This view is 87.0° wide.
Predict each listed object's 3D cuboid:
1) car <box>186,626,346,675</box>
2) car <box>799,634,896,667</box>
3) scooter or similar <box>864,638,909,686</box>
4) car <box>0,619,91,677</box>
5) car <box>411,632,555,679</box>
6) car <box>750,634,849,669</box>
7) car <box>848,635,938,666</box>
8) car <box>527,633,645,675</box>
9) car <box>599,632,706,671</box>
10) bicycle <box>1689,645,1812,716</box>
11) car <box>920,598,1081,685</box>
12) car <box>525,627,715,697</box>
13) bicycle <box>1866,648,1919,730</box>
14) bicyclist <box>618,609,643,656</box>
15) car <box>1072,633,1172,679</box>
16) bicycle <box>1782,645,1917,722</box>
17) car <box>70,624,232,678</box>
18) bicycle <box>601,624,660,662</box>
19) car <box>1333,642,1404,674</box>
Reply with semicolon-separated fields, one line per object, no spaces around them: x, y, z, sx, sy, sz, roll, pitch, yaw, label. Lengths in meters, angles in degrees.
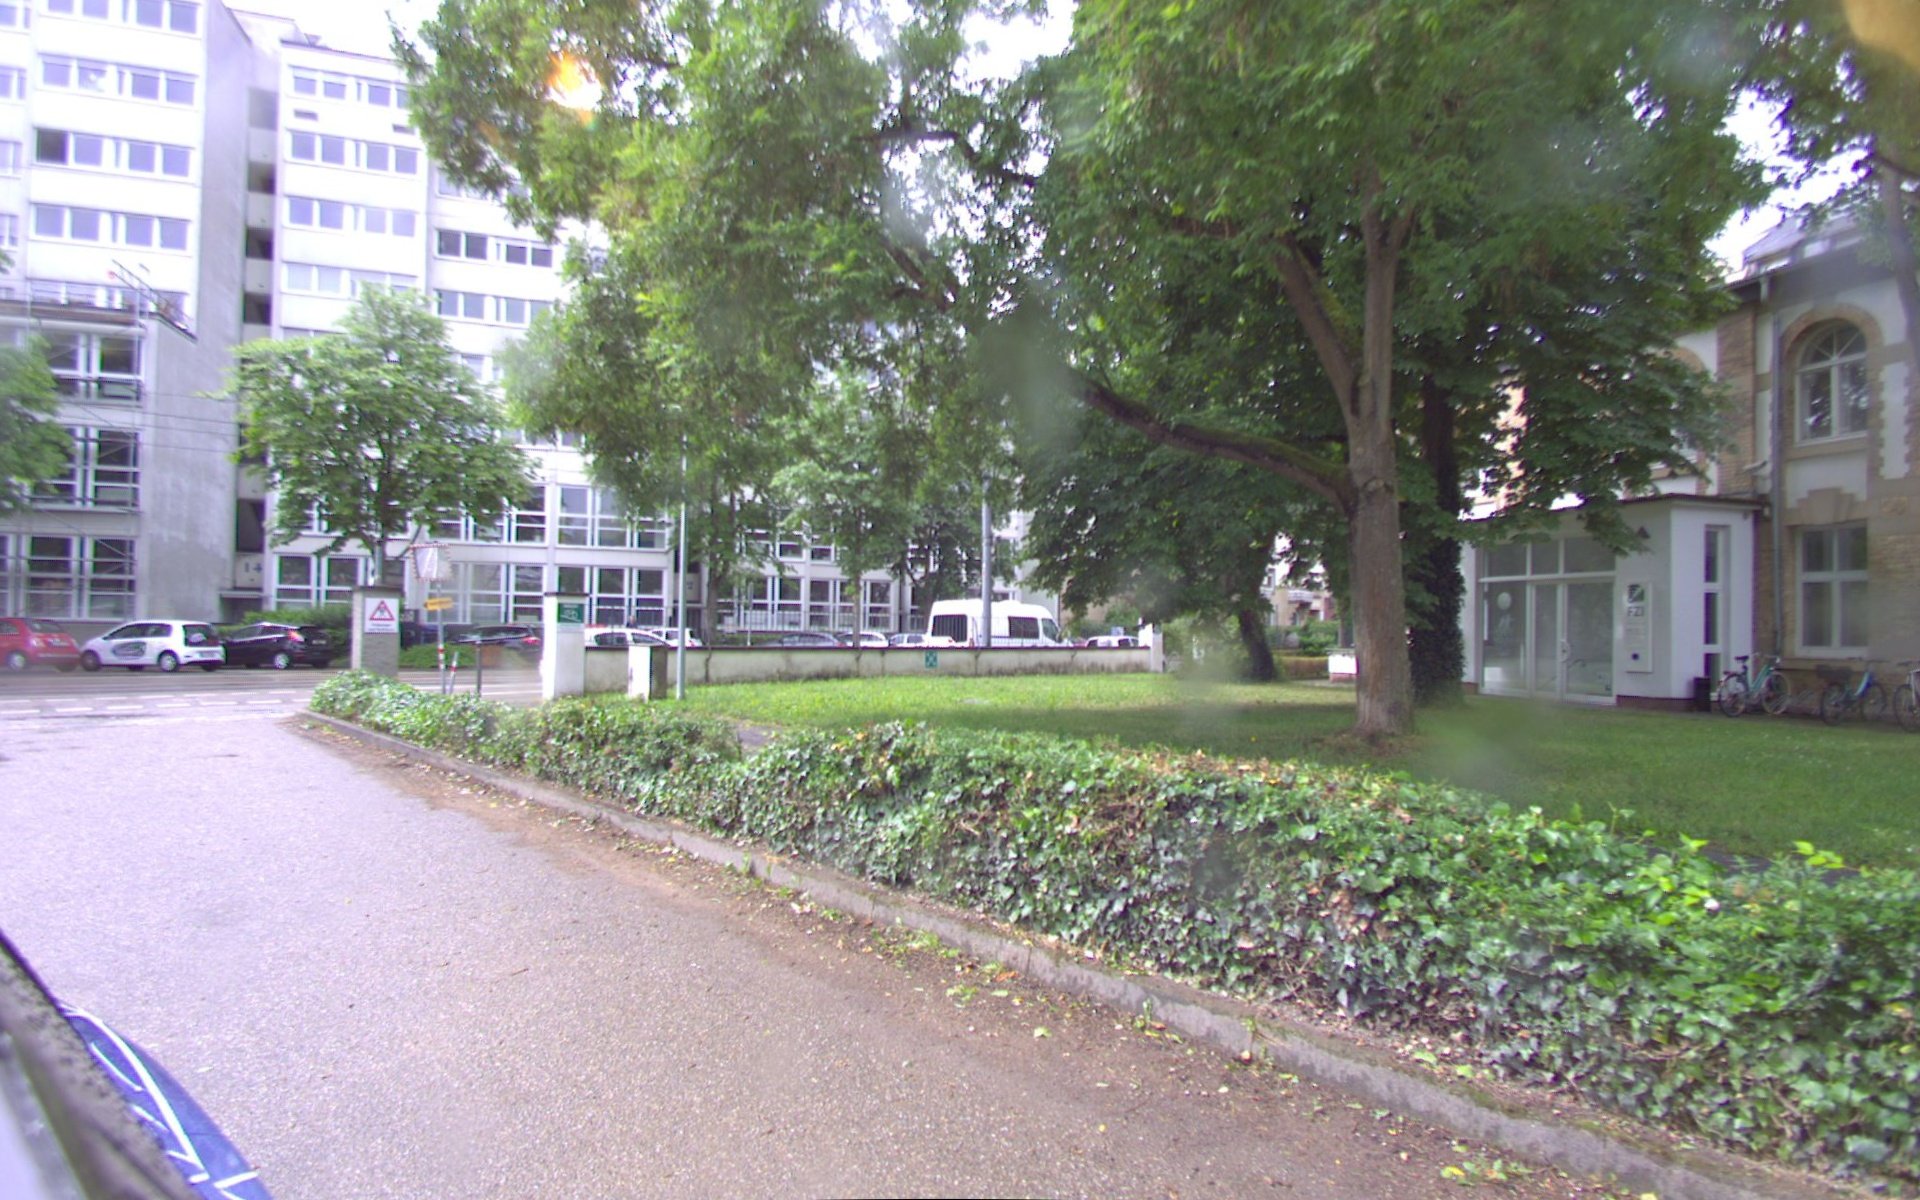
-21.634;1.577;31.624;3.931;1.492;1.812;-1;-2;8;car
-5.283;2.375;47.896;4.335;1.464;1.884;-1;-2;2;car
-2.070;1.738;28.391;1.140;1.287;0.423;0;-4;21;scooter or similar
-25.939;1.288;27.344;3.361;1.481;1.741;1;-3;1;car
-17.102;1.987;36.417;4.309;1.567;1.878;-1;-3;0;car
-7.229;2.305;45.740;4.149;1.464;1.813;-1;-2;2;car
-3.308;2.503;50.279;4.312;1.464;1.905;-1;-2;2;car
-14.157;2.049;38.459;3.827;1.465;1.822;-1;-3;0;car
-12.415;2.086;40.978;3.827;1.465;1.777;-1;-3;0;car
13.150;1.339;16.841;1.893;1.124;0.619;2;-3;-17;bicycle
1.358;1.336;31.930;2.141;2.529;5.195;-4;-5;45;car
-7.700;1.401;23.133;1.691;1.471;3.776;-4;-5;45;car
14.092;1.278;14.594;1.893;1.124;0.619;2;-3;-17;bicycle
-11.432;1.126;35.097;0.663;1.630;0.646;1;-3;-39;bicyclist
5.837;2.013;36.426;3.319;1.563;1.916;3;-5;-43;car
13.593;1.276;15.466;1.893;1.124;0.619;2;-3;-17;bicycle
-23.333;1.462;29.260;3.364;1.463;1.708;1;-2;4;car
-11.425;1.479;35.078;1.839;1.276;0.646;1;-3;-39;bicycle
20.958;2.962;51.897;3.968;1.509;1.797;1;-3;-42;car
